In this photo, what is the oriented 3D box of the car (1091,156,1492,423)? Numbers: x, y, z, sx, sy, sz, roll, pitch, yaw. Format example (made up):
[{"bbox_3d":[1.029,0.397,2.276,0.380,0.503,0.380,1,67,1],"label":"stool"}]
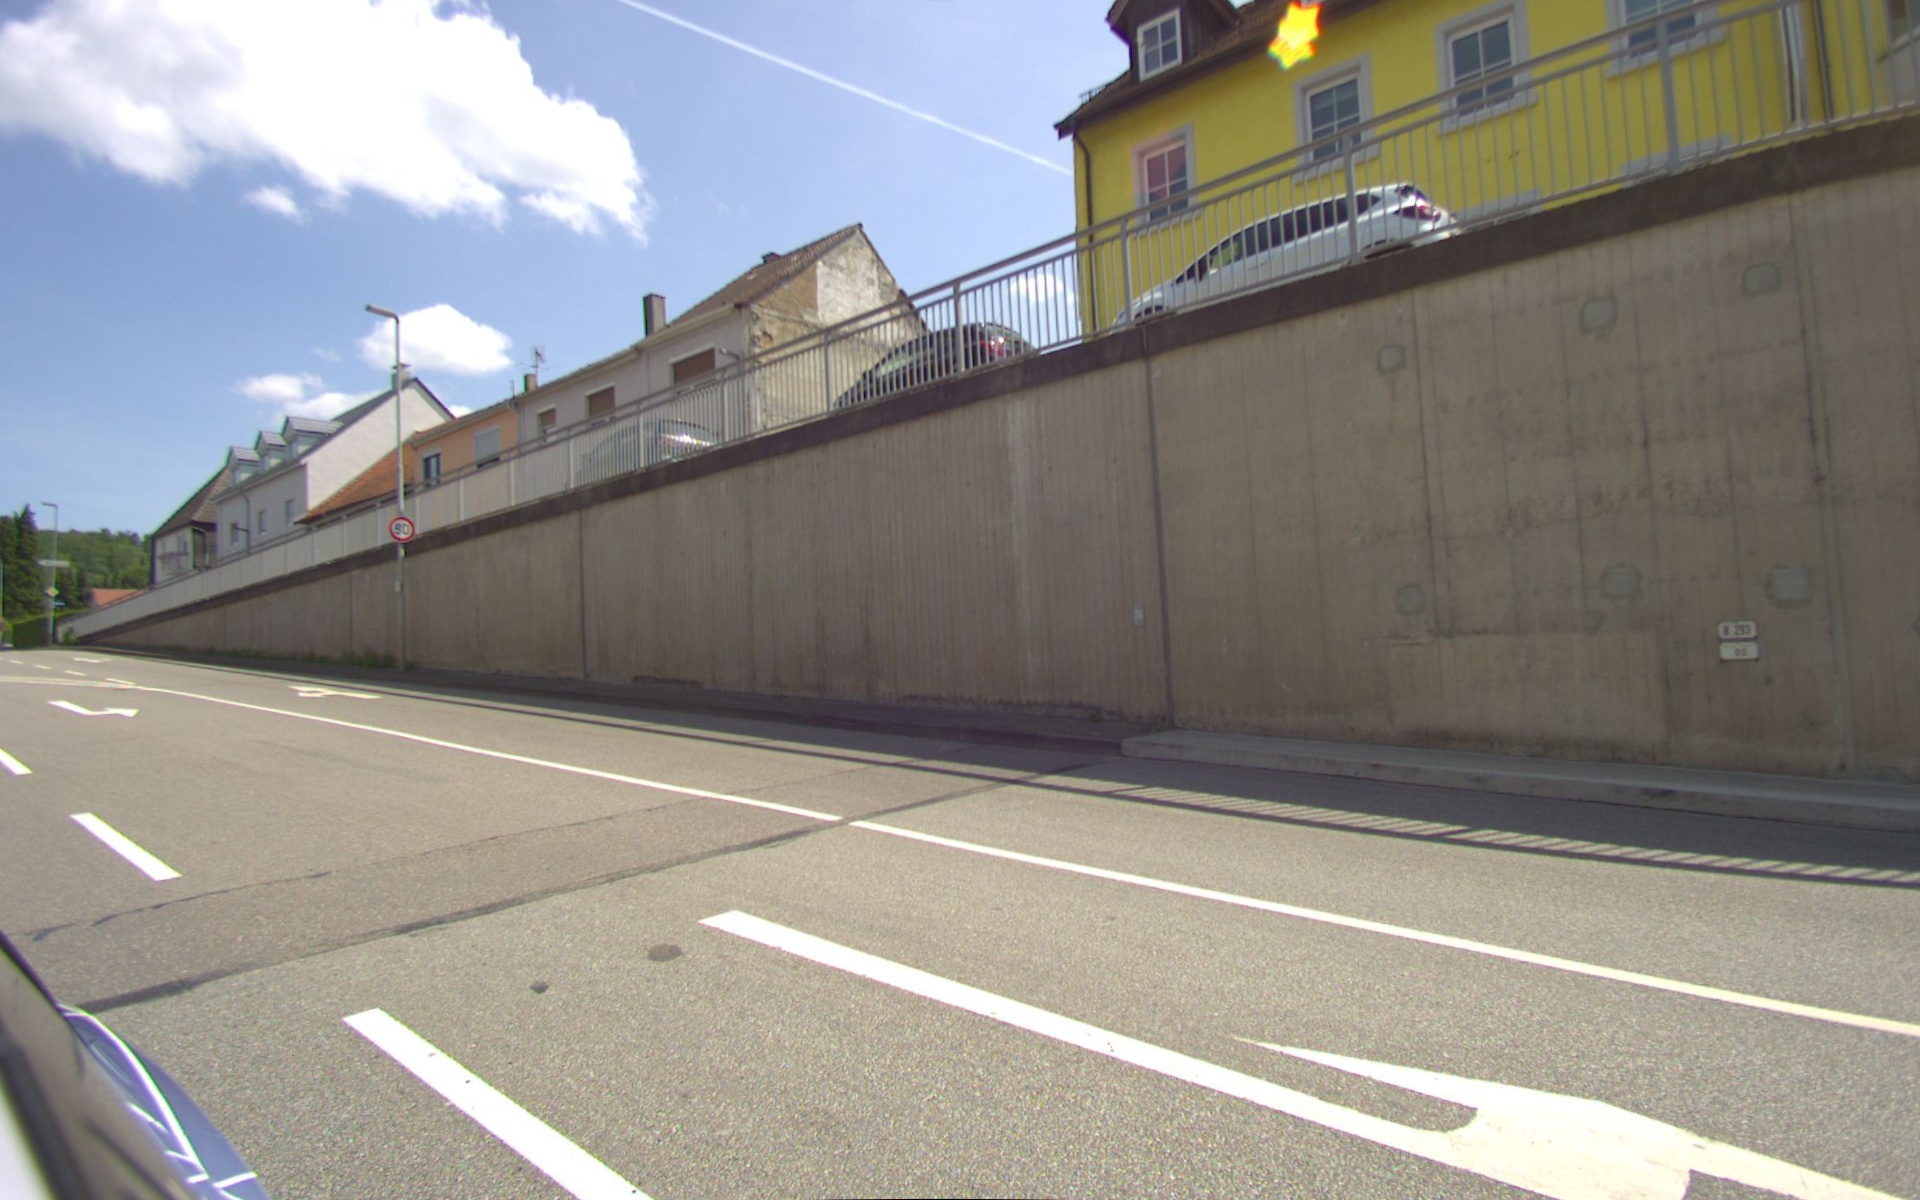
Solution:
[{"bbox_3d":[3.774,-3.376,11.857,3.996,1.681,1.883,-4,-3,39],"label":"car"}]

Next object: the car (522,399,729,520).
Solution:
[{"bbox_3d":[-6.664,-2.642,19.923,4.388,1.536,1.781,-4,-3,39],"label":"car"}]

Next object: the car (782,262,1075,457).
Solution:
[{"bbox_3d":[-0.568,-3.419,15.180,4.218,1.718,1.804,-4,-3,39],"label":"car"}]

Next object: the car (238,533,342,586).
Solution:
[{"bbox_3d":[-23.118,-1.344,34.876,4.388,1.416,1.768,-4,-3,39],"label":"car"}]
